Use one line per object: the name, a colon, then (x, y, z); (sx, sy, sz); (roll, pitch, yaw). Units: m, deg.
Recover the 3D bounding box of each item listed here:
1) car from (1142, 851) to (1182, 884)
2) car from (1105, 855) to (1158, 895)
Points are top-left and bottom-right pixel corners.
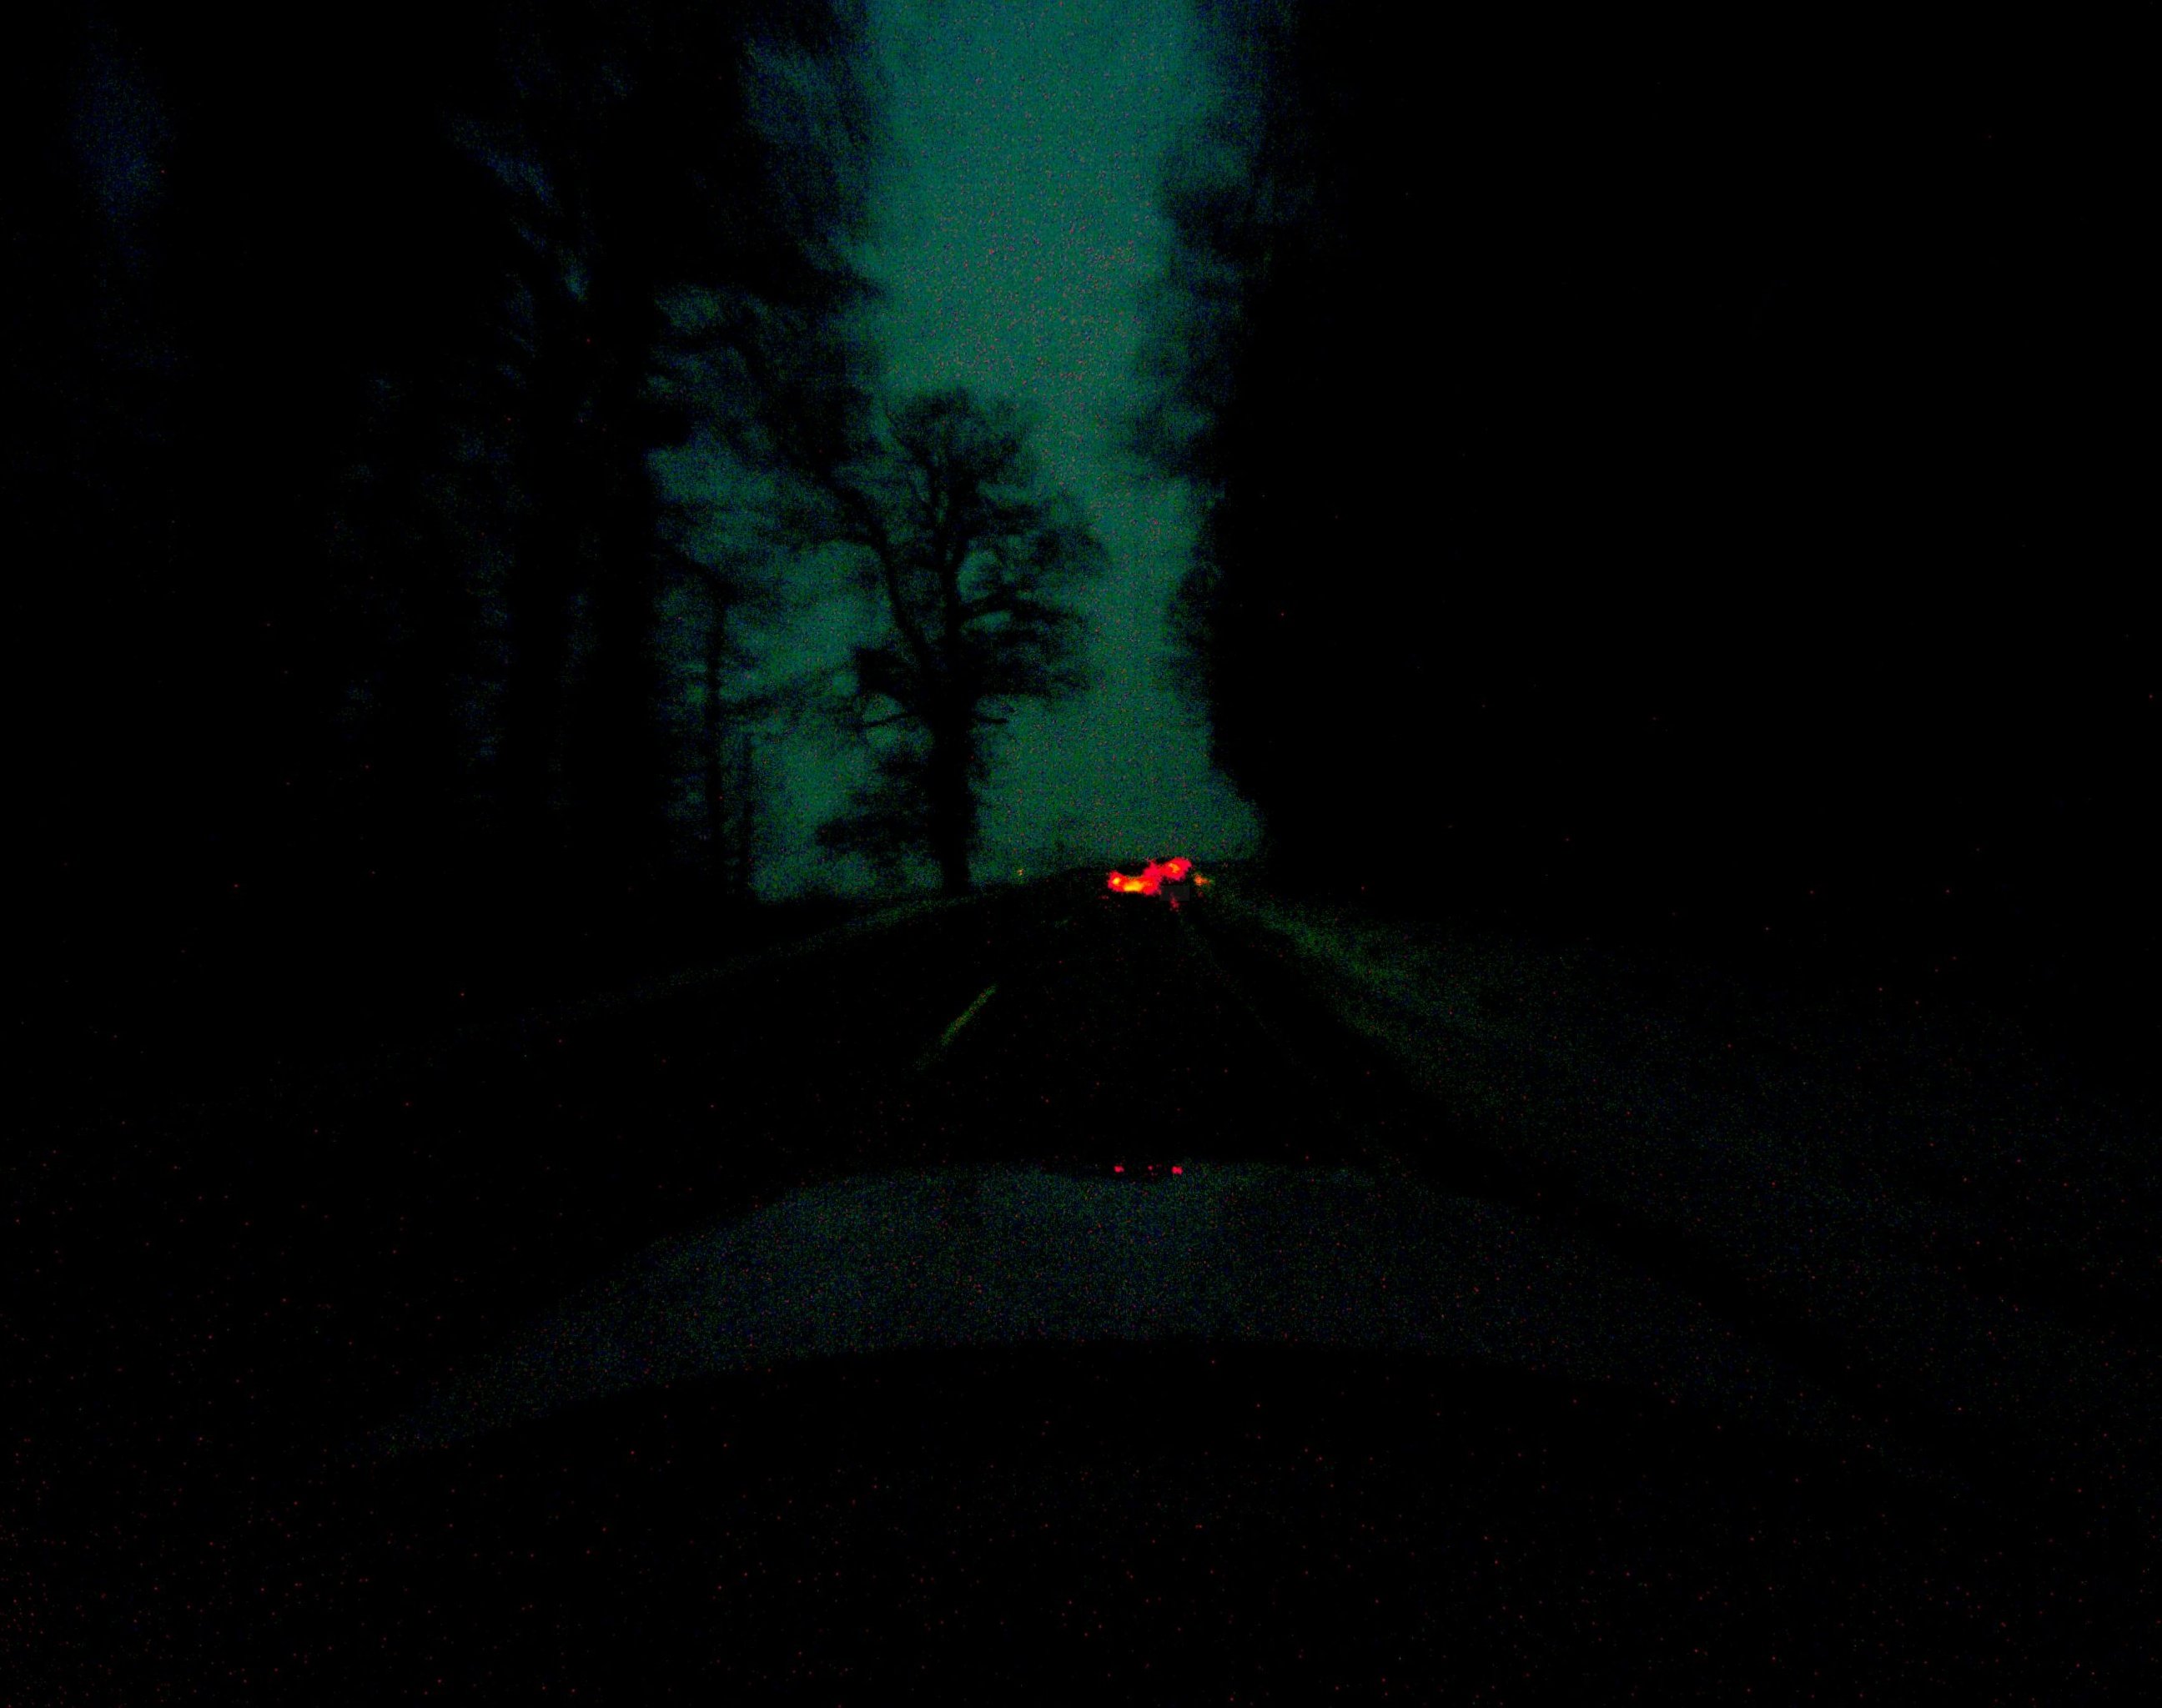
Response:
car: (4.592, 0.762, 46.725); (1.986, 1.783, 4.001); (0, 0, 1)
car: (1.993, 0.778, 32.342); (1.938, 1.381, 4.004); (-1, 1, 3)
